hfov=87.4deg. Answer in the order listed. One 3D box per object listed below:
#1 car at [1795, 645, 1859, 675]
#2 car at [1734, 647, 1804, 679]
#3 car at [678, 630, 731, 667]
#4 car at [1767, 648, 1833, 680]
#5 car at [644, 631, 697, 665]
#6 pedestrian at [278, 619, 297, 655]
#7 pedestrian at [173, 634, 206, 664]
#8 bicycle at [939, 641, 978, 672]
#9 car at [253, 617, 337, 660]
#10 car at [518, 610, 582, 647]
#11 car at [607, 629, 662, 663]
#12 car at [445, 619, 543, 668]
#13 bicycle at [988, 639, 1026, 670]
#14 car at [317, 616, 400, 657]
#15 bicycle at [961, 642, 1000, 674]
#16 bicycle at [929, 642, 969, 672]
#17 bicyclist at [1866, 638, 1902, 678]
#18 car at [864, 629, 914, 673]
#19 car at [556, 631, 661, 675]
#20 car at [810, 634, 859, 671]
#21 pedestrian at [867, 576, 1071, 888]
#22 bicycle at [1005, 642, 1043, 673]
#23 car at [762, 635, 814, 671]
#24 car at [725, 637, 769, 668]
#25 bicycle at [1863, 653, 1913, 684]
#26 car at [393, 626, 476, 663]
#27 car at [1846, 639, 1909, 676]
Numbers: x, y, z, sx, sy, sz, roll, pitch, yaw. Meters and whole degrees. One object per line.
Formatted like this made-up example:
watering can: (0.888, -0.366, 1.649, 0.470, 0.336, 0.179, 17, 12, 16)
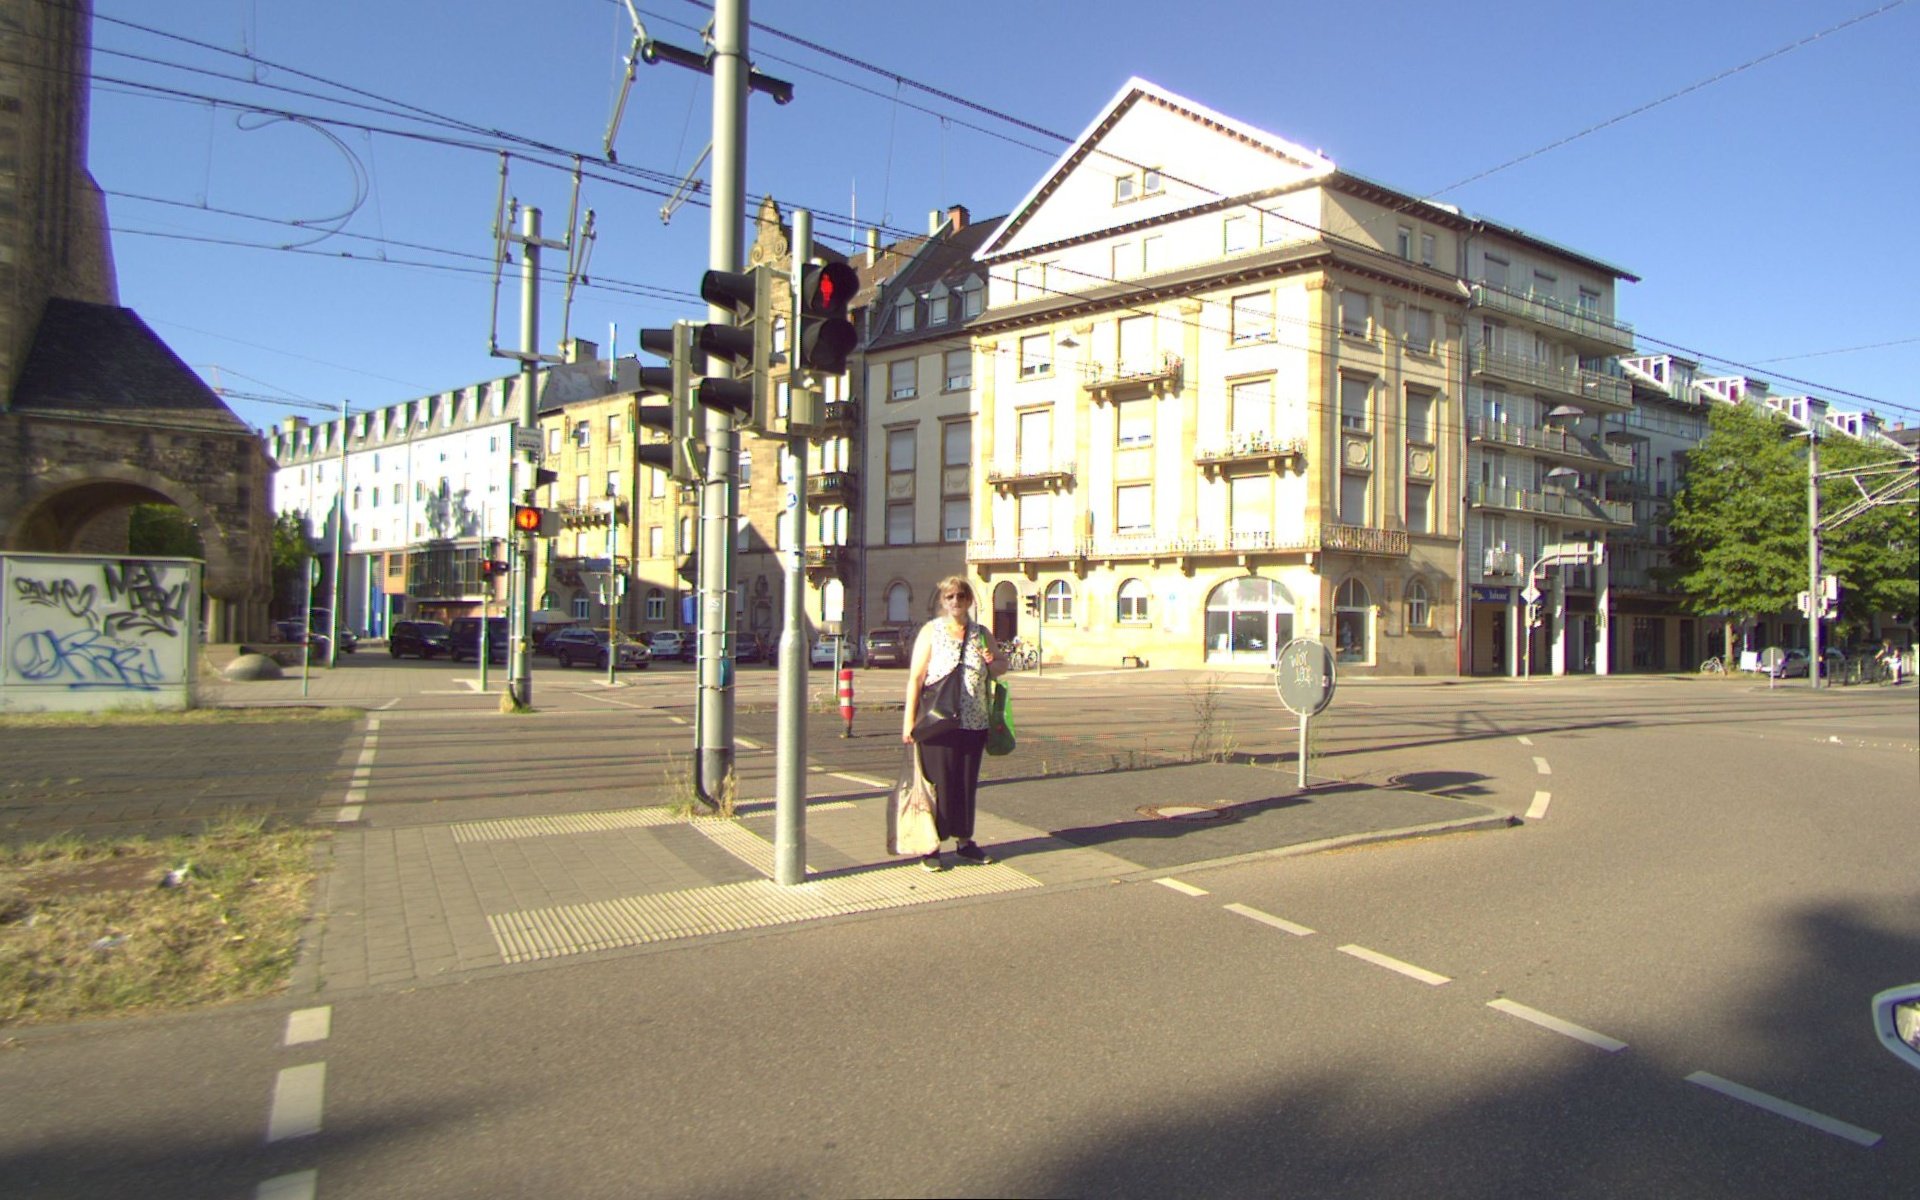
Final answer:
car: (51.789, 3.584, 59.987, 3.741, 1.657, 1.797, 2, 0, -31)
car: (44.957, 3.493, 55.816, 3.741, 1.599, 1.797, 2, 0, -31)
car: (-12.742, 2.400, 50.363, 1.813, 1.541, 3.997, -2, 0, -4)
car: (48.481, 3.666, 57.966, 3.741, 1.699, 1.797, 2, 0, -31)
car: (-15.114, 2.481, 52.631, 1.813, 1.541, 3.997, -2, 0, -4)
pedestrian: (-31.017, 1.714, 46.329, 0.647, 1.642, 0.462, 2, 0, -43)
pedestrian: (-32.118, 2.033, 41.893, 0.768, 1.143, 0.766, 3, 1, -4)
bicycle: (-0.052, 2.308, 41.192, 0.520, 1.206, 2.121, 2, 0, 33)
car: (-33.624, 1.895, 50.727, 4.830, 1.893, 1.993, 2, 0, 37)
car: (-23.951, 1.619, 58.862, 1.750, 1.929, 4.001, -2, 0, 5)
car: (-17.329, 2.415, 53.666, 1.813, 1.541, 3.997, -2, 0, -4)
car: (-20.453, 1.855, 44.004, 4.417, 1.893, 1.993, 2, 0, 37)
bicycle: (1.938, 2.229, 41.135, 0.520, 1.206, 2.121, 2, 0, 33)
car: (-31.430, 1.863, 52.427, 4.830, 1.893, 1.993, 2, 0, 37)
bicycle: (0.855, 2.352, 41.023, 0.544, 1.206, 2.121, 2, 0, 33)
bicycle: (-0.442, 2.366, 41.952, 0.520, 1.206, 2.120, 2, 0, 35)
bicyclist: (33.245, 2.094, 36.139, 1.003, 1.390, 0.533, 1, 0, -19)
car: (-3.053, 2.155, 43.322, 1.962, 1.606, 3.997, -2, 0, -4)
car: (-13.732, 2.016, 39.162, 4.217, 1.438, 1.836, 2, 0, 37)
car: (-5.599, 2.337, 45.227, 1.962, 1.374, 3.997, -2, 0, -4)
pedestrian: (0.047, 0.703, 5.807, 0.915, 1.642, 0.673, 2, 0, -32)
bicycle: (2.611, 2.322, 40.939, 0.520, 1.206, 2.121, 2, 0, 33)
car: (-8.053, 2.440, 47.266, 1.962, 1.374, 3.997, -2, 0, -4)
car: (-10.377, 2.527, 49.091, 1.560, 1.227, 3.788, -2, 0, -4)
bicycle: (33.457, 2.482, 36.215, 1.796, 1.067, 0.533, 2, -1, -19)
car: (-24.998, 2.066, 47.747, 4.271, 1.522, 1.835, 2, 0, 37)
car: (58.308, 3.644, 63.822, 3.741, 2.195, 1.931, 2, 0, -31)
